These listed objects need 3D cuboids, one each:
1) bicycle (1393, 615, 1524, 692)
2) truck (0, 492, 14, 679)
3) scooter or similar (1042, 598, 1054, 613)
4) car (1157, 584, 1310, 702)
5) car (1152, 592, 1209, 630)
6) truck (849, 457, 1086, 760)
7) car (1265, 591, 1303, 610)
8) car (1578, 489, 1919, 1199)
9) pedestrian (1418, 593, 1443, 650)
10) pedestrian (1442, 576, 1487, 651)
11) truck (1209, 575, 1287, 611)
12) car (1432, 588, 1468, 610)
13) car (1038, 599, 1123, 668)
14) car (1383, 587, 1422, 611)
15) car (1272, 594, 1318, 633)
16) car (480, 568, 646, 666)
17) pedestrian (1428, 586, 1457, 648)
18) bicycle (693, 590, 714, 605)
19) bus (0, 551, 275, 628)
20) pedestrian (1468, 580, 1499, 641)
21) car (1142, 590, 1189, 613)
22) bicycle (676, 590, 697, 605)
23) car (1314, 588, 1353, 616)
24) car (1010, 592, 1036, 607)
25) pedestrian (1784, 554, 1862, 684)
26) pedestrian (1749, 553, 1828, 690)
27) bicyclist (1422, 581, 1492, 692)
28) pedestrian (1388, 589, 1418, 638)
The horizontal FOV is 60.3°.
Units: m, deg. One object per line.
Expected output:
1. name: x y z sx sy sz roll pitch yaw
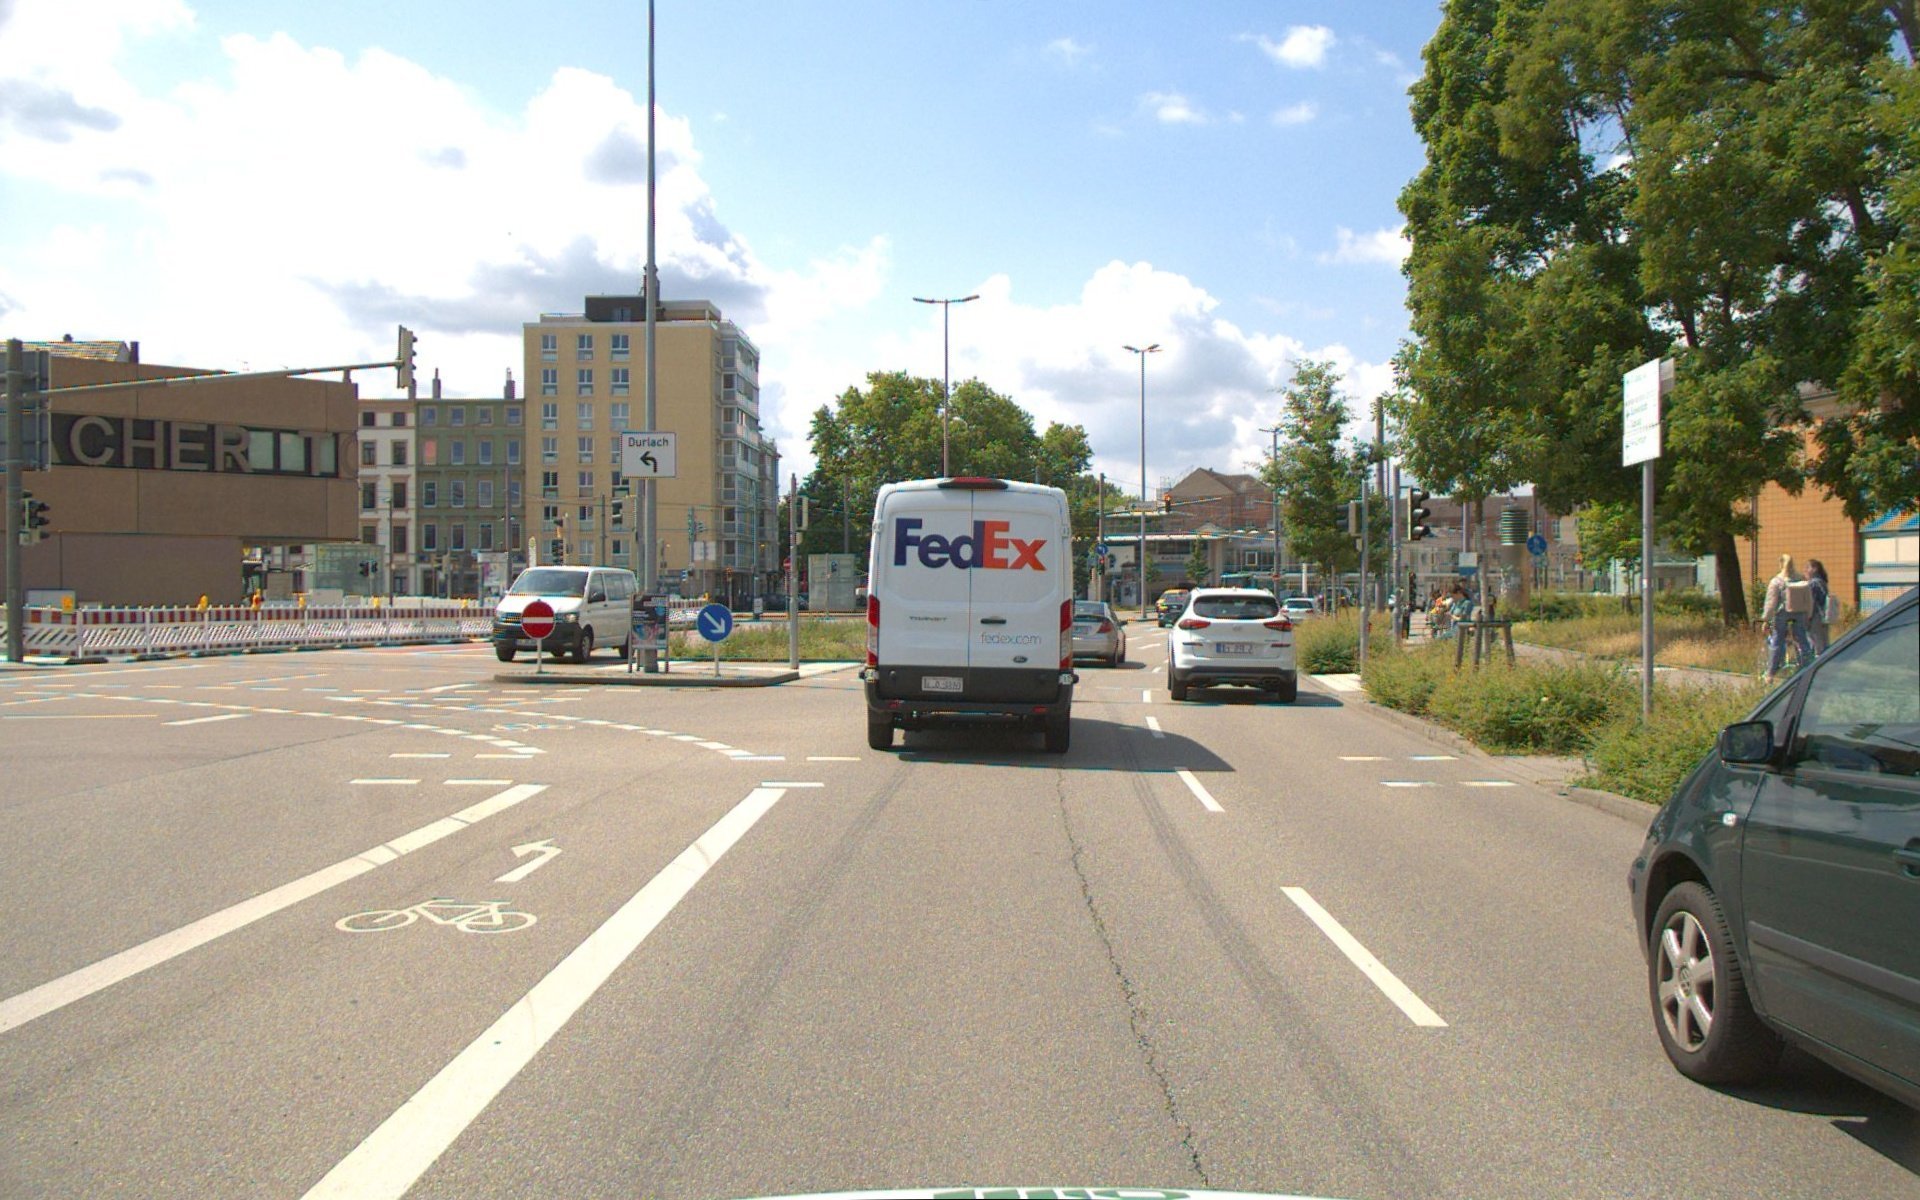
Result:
1. bicycle: 7.571 0.807 25.149 1.772 1.068 0.592 -3 -1 0
2. truck: -18.592 -0.313 25.096 1.957 3.121 7.314 1 -1 30
3. scooter or similar: 6.997 0.447 131.357 0.371 1.135 1.091 0 -1 36
4. car: 4.130 0.592 25.569 1.842 1.670 4.234 0 0 2
5. car: 10.150 0.483 75.884 1.887 1.670 4.795 0 0 16
6. truck: 0.184 0.079 17.820 2.092 2.686 5.919 1 0 2
7. car: 26.760 0.028 136.502 1.625 1.494 4.139 0 0 35
8. car: 3.224 0.633 3.870 1.758 1.753 4.447 2 0 -2
9. pedestrian: 13.927 0.629 48.944 0.636 1.654 0.775 -3 -2 17
10. pedestrian: 12.807 0.340 42.000 0.741 1.853 0.779 -3 -1 -4
11. truck: 24.028 -0.558 137.625 2.837 2.902 8.759 0 0 36
12. car: 37.713 -0.105 127.240 1.845 1.670 3.951 0 0 28
13. car: 2.740 0.709 36.830 1.704 1.416 4.183 0 0 7
14. car: 31.973 -0.097 119.433 1.845 1.670 3.951 0 0 28
15. car: 15.029 0.564 74.066 1.841 1.670 3.960 0 0 15
16. car: -8.306 0.316 35.108 1.841 1.927 4.873 0 0 7
17. pedestrian: 13.149 0.465 45.051 0.575 1.654 0.728 1 -1 2
18. bicycle: -20.742 -0.185 133.674 0.508 1.167 2.099 2 -1 -45
19. bus: -35.214 -0.388 69.089 2.552 2.909 12.177 0 -1 45
20. pedestrian: 16.156 0.336 51.024 0.740 1.853 0.674 1 -1 3
21. car: 17.075 0.086 137.230 1.690 1.832 4.720 -1 0 37
22. bicycle: -22.004 -0.216 133.197 0.508 1.167 2.099 2 -1 -45
23. car: 23.217 0.122 102.692 1.842 1.670 3.958 0 0 20
24. car: 6.971 -0.060 182.727 1.951 1.601 4.181 1 -1 15
25. pedestrian: 12.088 0.263 23.182 0.734 1.783 0.609 -2 0 0
26. pedestrian: 11.338 0.285 22.643 0.734 1.834 0.609 -2 0 0
27. bicyclist: 7.549 0.559 25.155 0.811 1.629 0.580 -3 -1 0
28. pedestrian: 14.850 0.440 55.493 0.741 1.617 0.760 1 -1 -4
